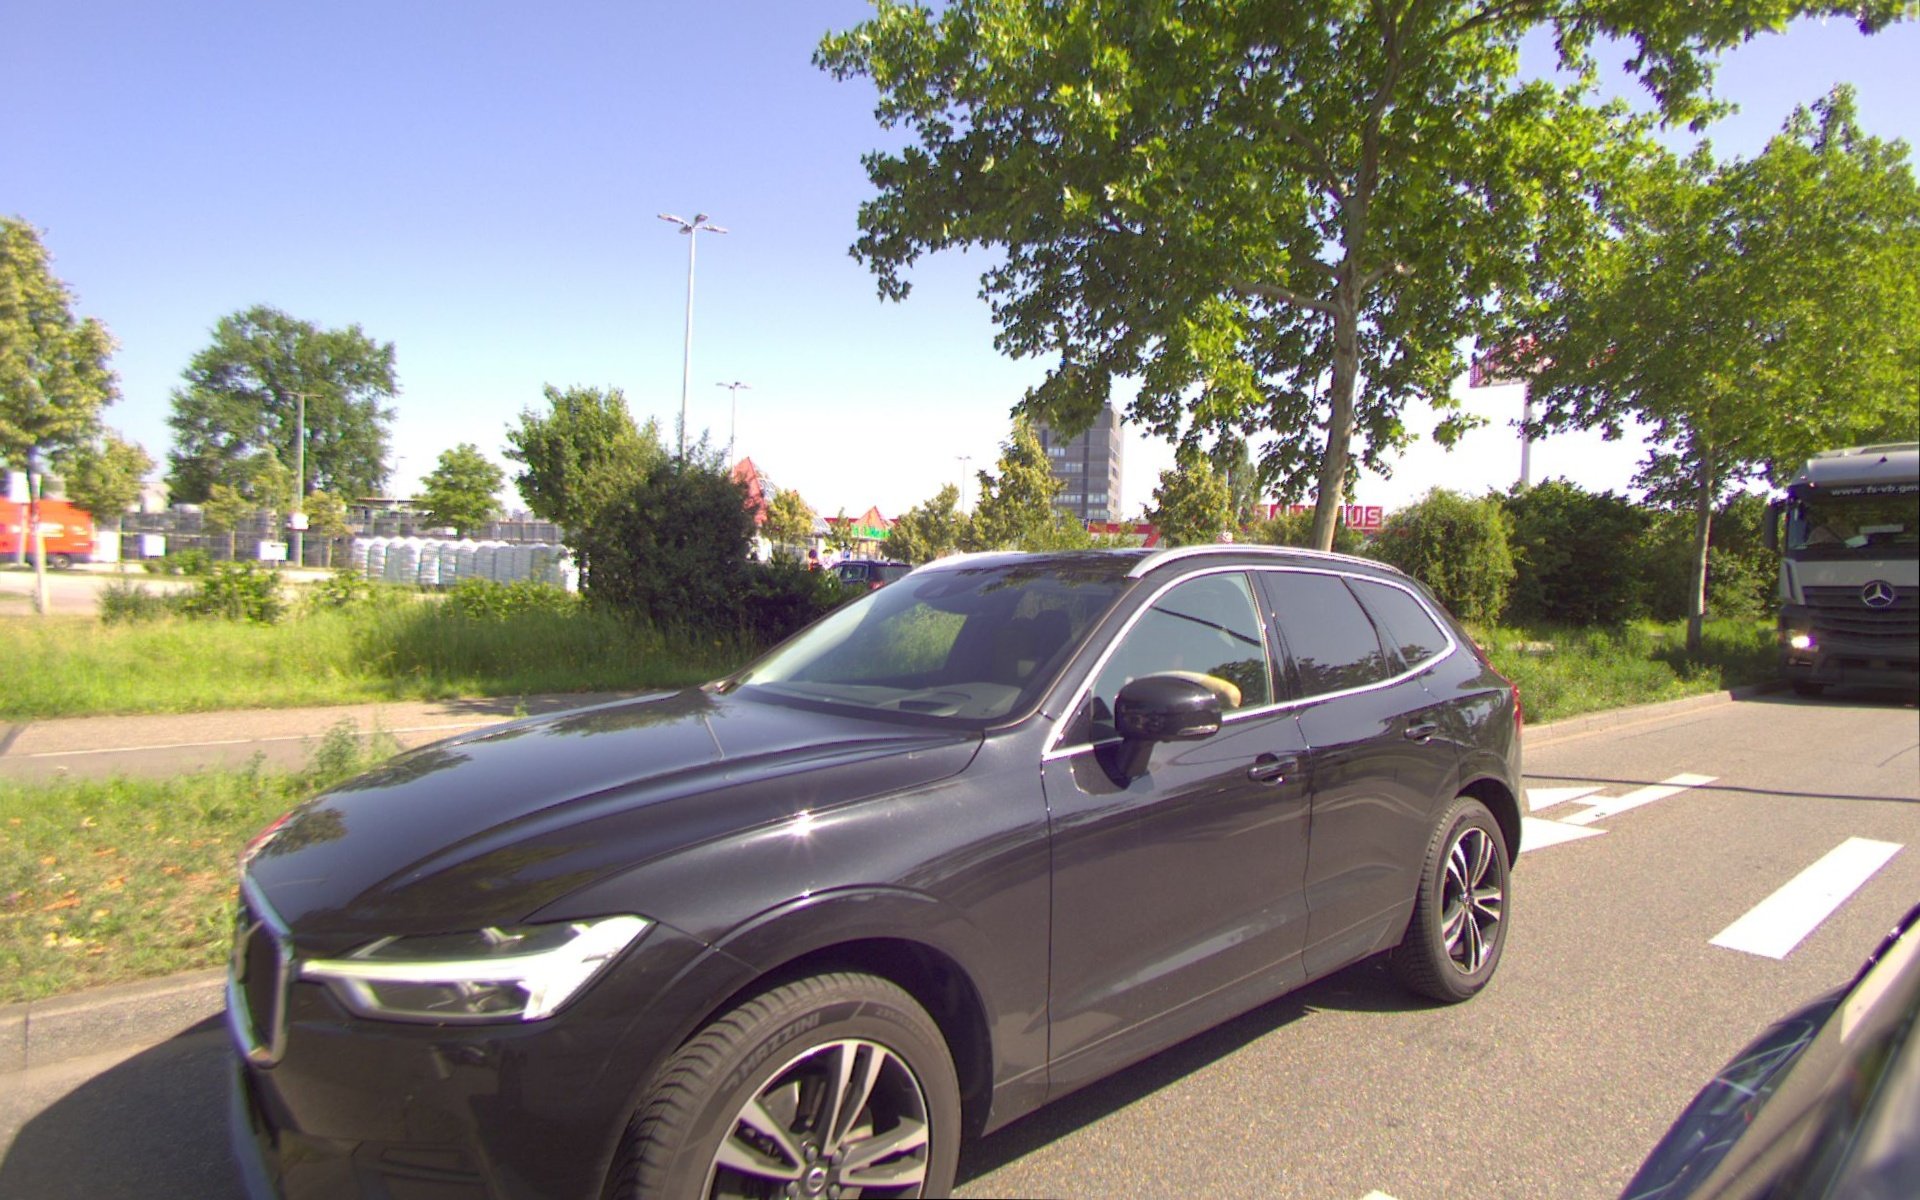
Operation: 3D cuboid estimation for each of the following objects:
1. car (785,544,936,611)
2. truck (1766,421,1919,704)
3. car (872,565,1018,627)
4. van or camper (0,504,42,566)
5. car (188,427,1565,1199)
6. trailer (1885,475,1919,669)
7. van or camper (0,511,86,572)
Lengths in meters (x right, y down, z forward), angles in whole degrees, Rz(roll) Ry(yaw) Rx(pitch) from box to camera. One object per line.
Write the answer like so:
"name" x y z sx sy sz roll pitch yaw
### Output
"car" -2.676 -0.558 26.482 1.850 1.611 4.075 -1 0 -43
"truck" 16.555 -0.573 17.053 8.564 3.938 2.737 -1 2 -38
"car" -0.484 -0.125 28.432 1.850 1.611 4.075 -1 0 -43
"van or camper" -48.879 -3.223 48.598 1.971 2.979 7.253 0 0 15
"car" 0.202 0.567 3.396 4.356 1.611 1.878 -1 0 -41
"trailer" 22.883 -0.573 22.132 7.596 3.925 2.743 -1 2 -39
"van or camper" -45.446 -2.734 47.187 1.971 2.739 7.253 0 0 15
